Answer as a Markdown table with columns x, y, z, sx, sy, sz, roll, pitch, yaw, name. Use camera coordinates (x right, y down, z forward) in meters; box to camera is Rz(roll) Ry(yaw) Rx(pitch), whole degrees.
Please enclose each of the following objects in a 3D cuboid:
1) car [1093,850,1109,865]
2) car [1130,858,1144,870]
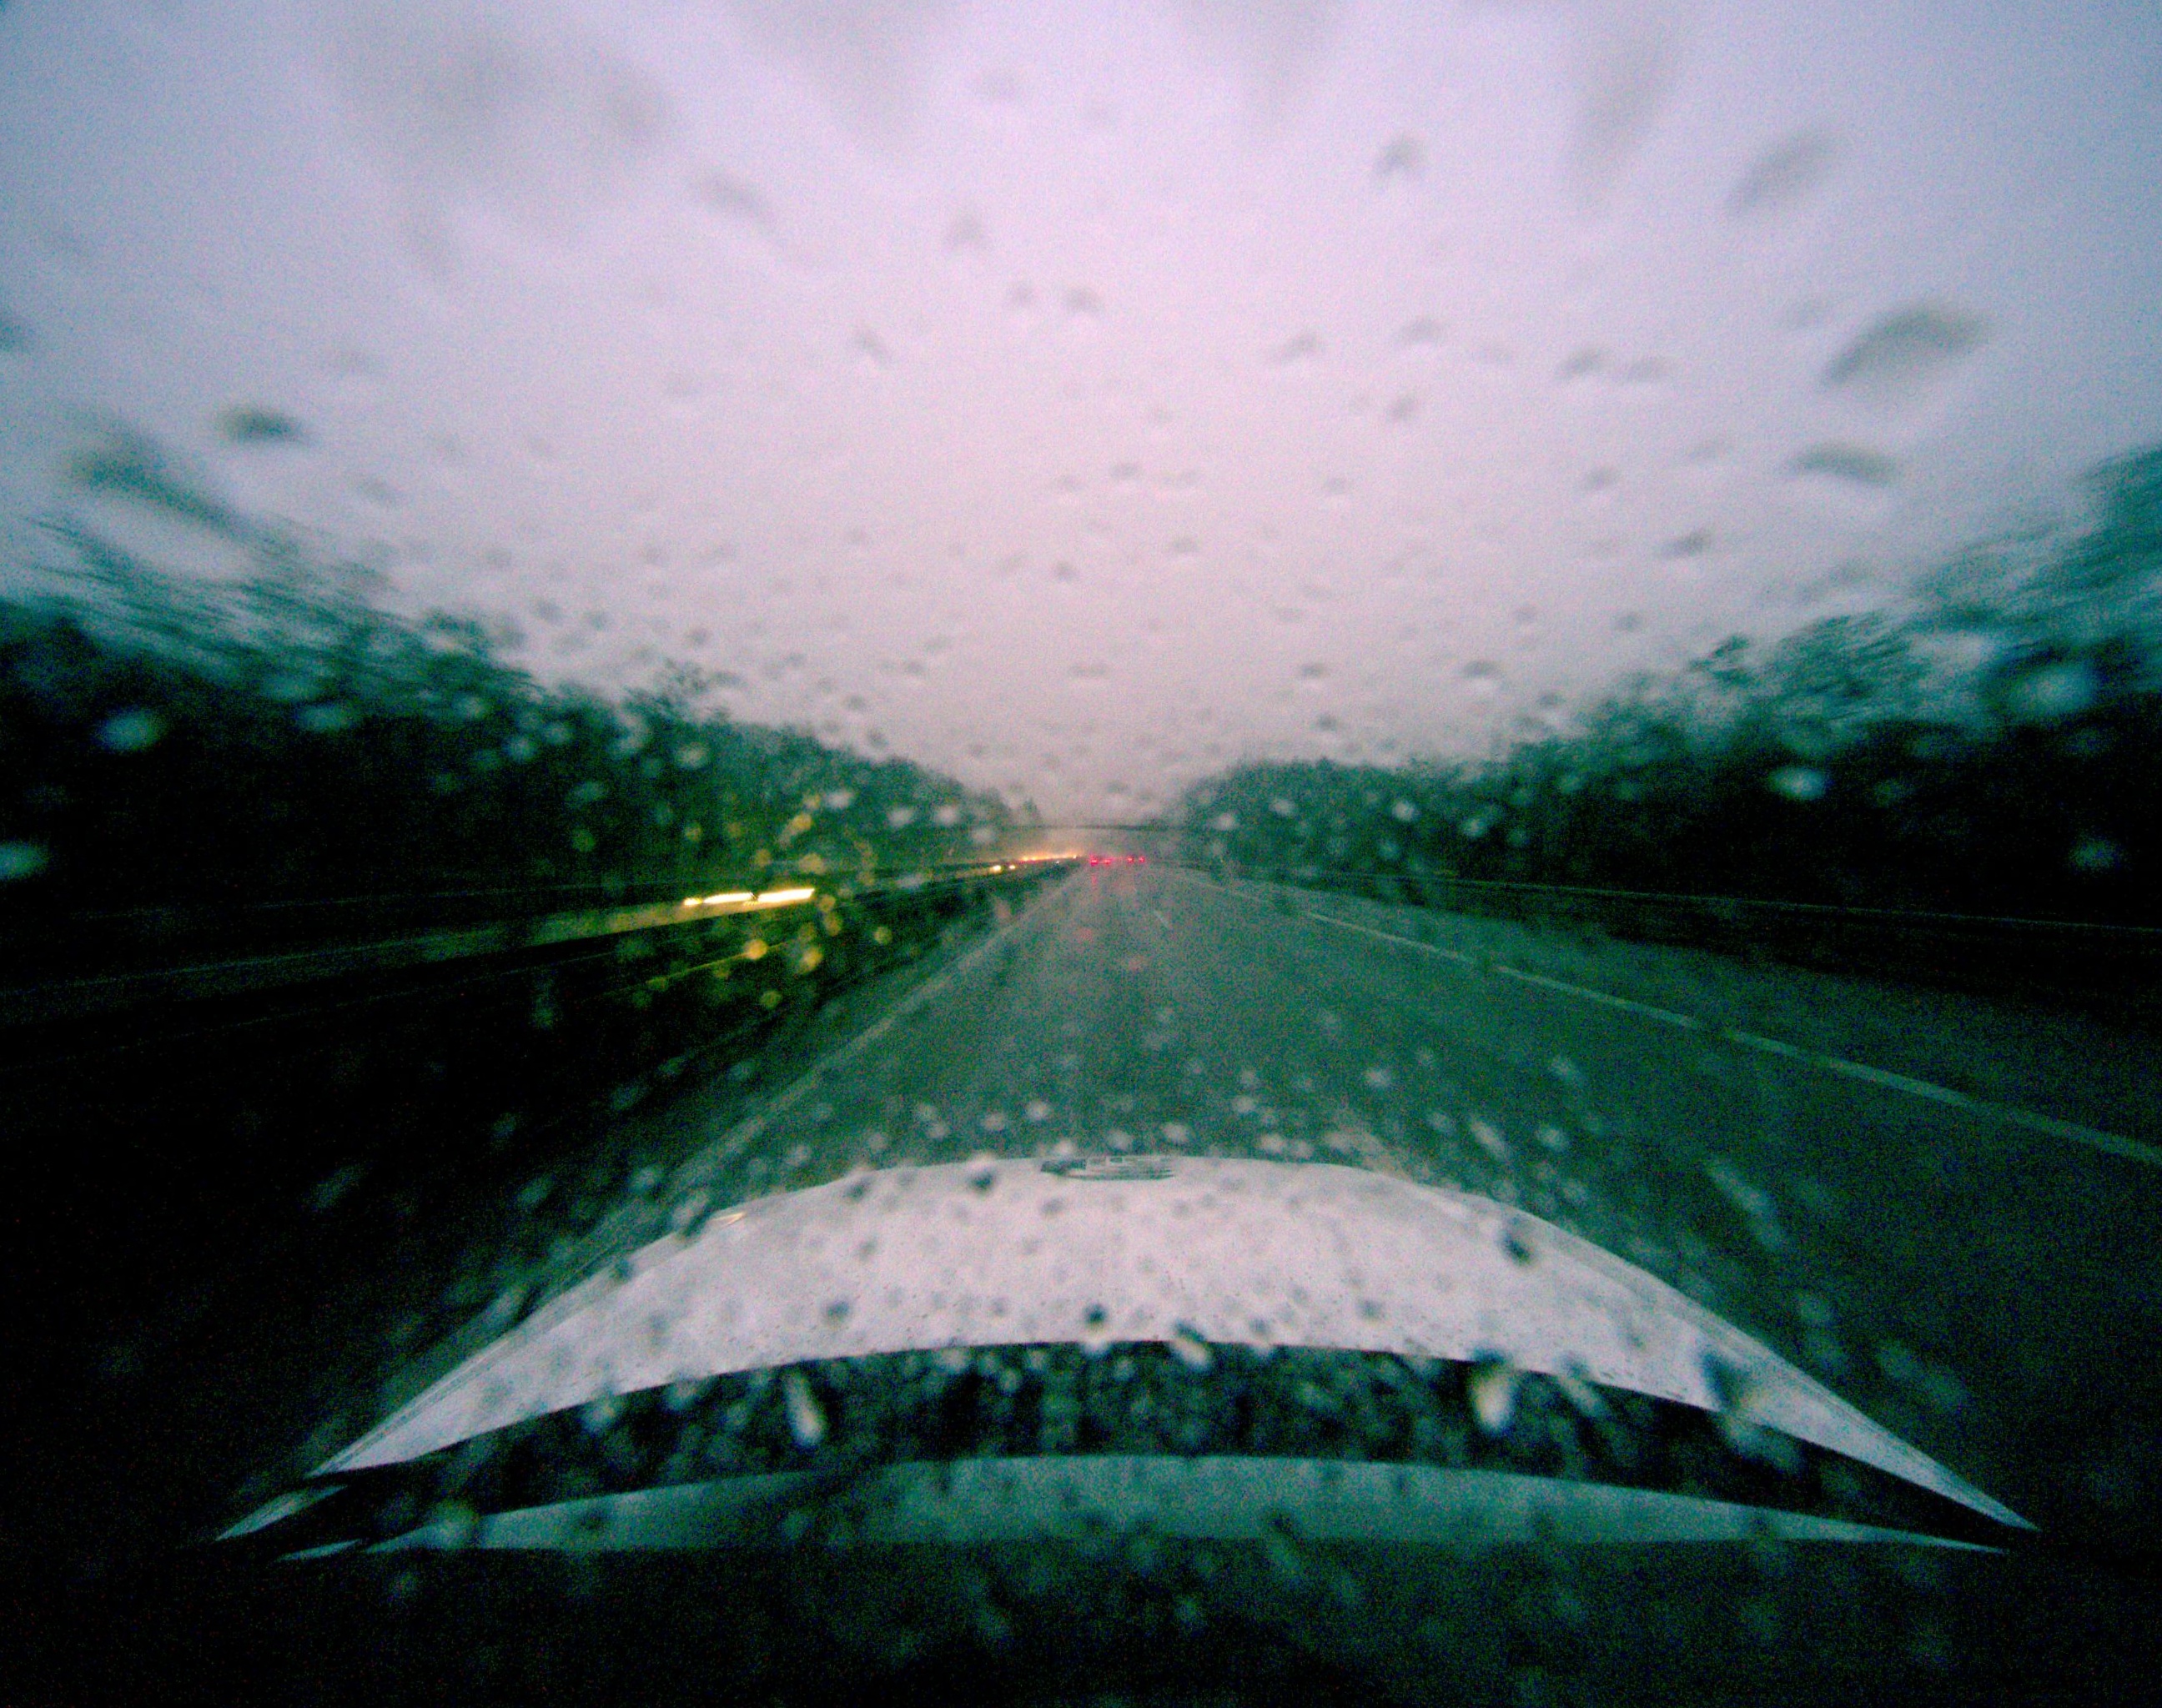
| x | y | z | sx | sy | sz | roll | pitch | yaw | name |
| --- | --- | --- | --- | --- | --- | --- | --- | --- | --- |
| 1.836 | 0.314 | 75.729 | 1.448 | 1.344 | 3.491 | 0 | 0 | 2 | car |
| 6.440 | 1.134 | 93.893 | 1.448 | 1.429 | 3.491 | 0 | 0 | 2 | car |
